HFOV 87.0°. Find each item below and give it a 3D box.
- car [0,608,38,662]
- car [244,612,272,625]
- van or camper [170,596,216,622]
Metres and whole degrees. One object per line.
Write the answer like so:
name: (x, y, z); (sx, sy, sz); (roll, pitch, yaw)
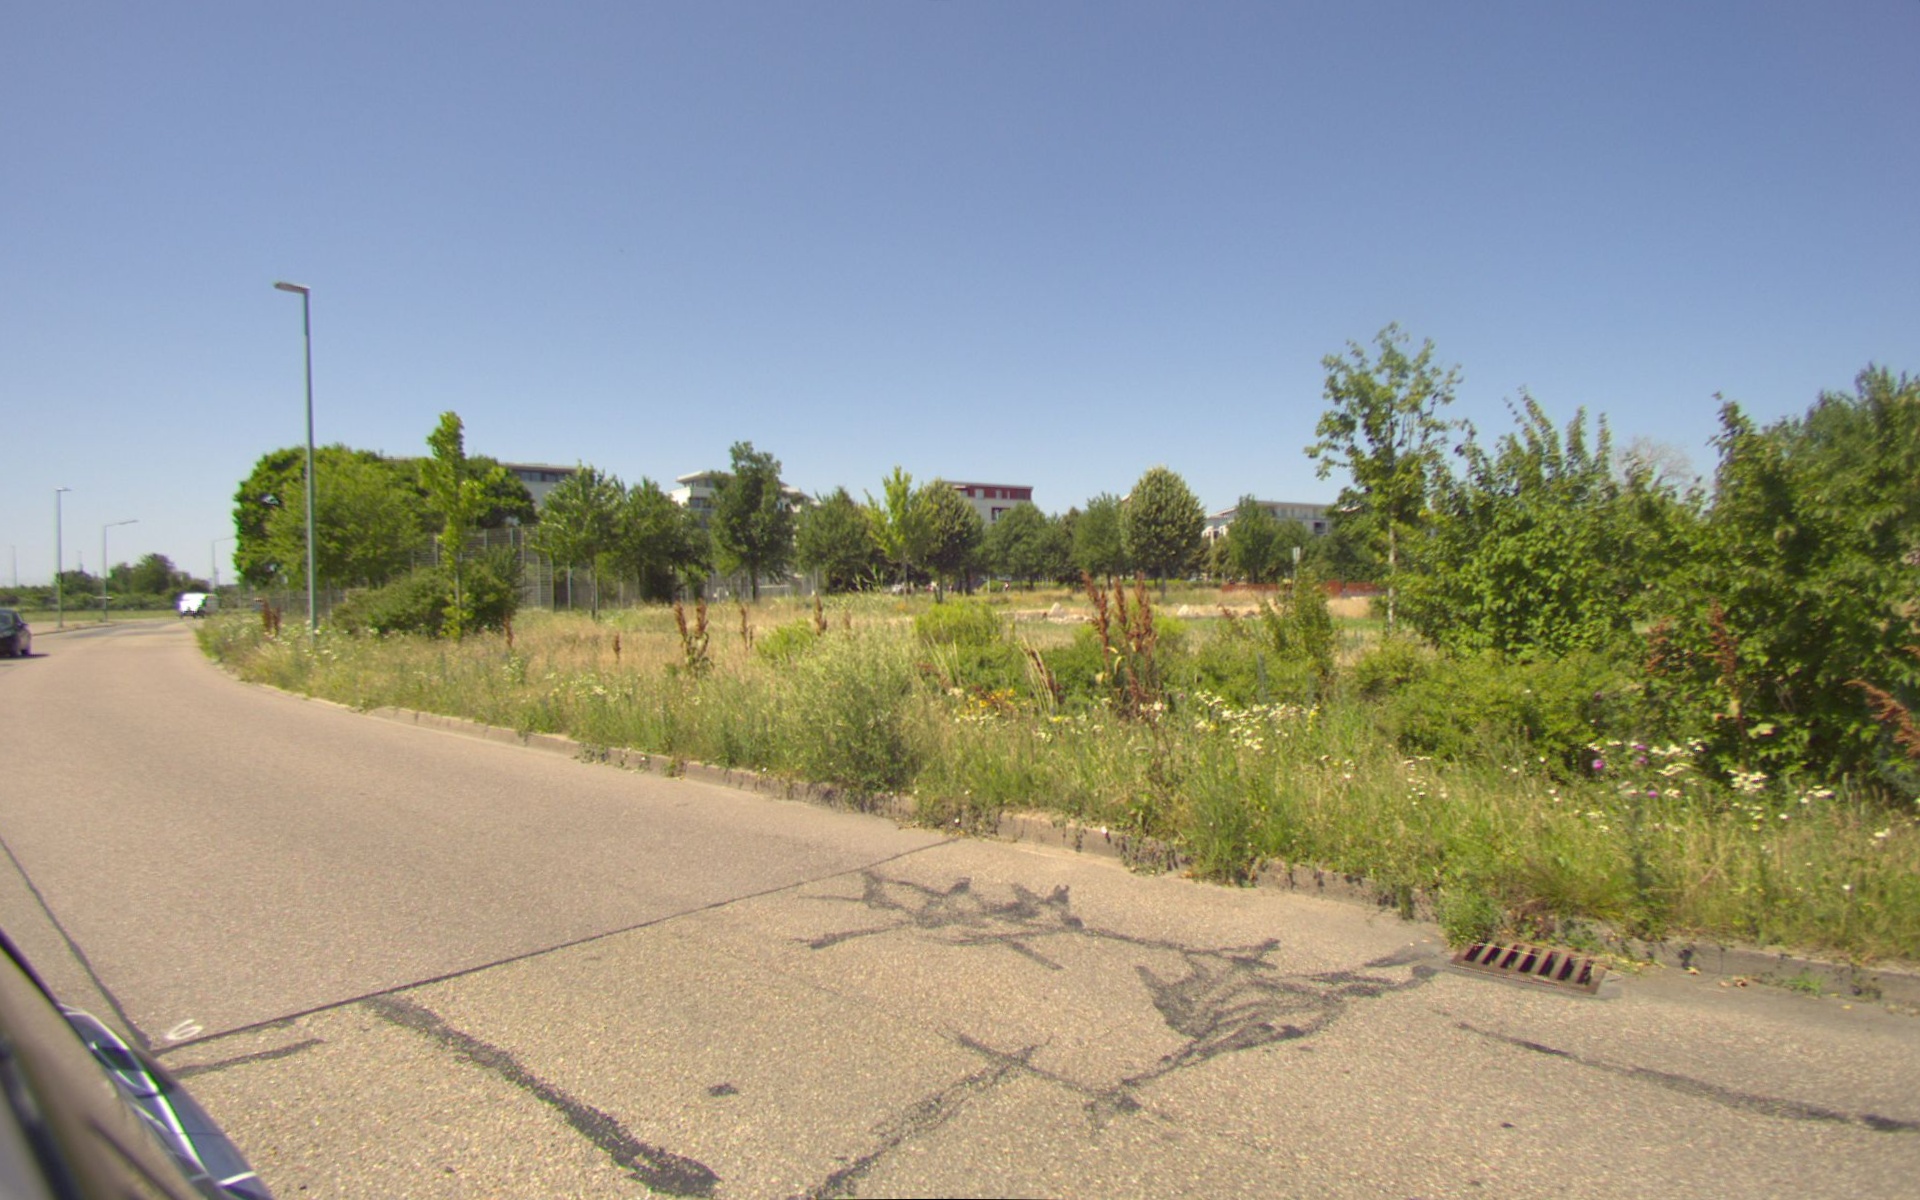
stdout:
car: (-27.865, 0.994, 28.835); (1.627, 1.477, 4.171); (-1, 0, -32)
car: (-88.044, 2.332, 126.898); (1.627, 1.477, 3.877); (-1, 0, -14)
van or camper: (-79.007, 0.955, 104.306); (2.106, 2.592, 5.885); (-1, 0, -20)
